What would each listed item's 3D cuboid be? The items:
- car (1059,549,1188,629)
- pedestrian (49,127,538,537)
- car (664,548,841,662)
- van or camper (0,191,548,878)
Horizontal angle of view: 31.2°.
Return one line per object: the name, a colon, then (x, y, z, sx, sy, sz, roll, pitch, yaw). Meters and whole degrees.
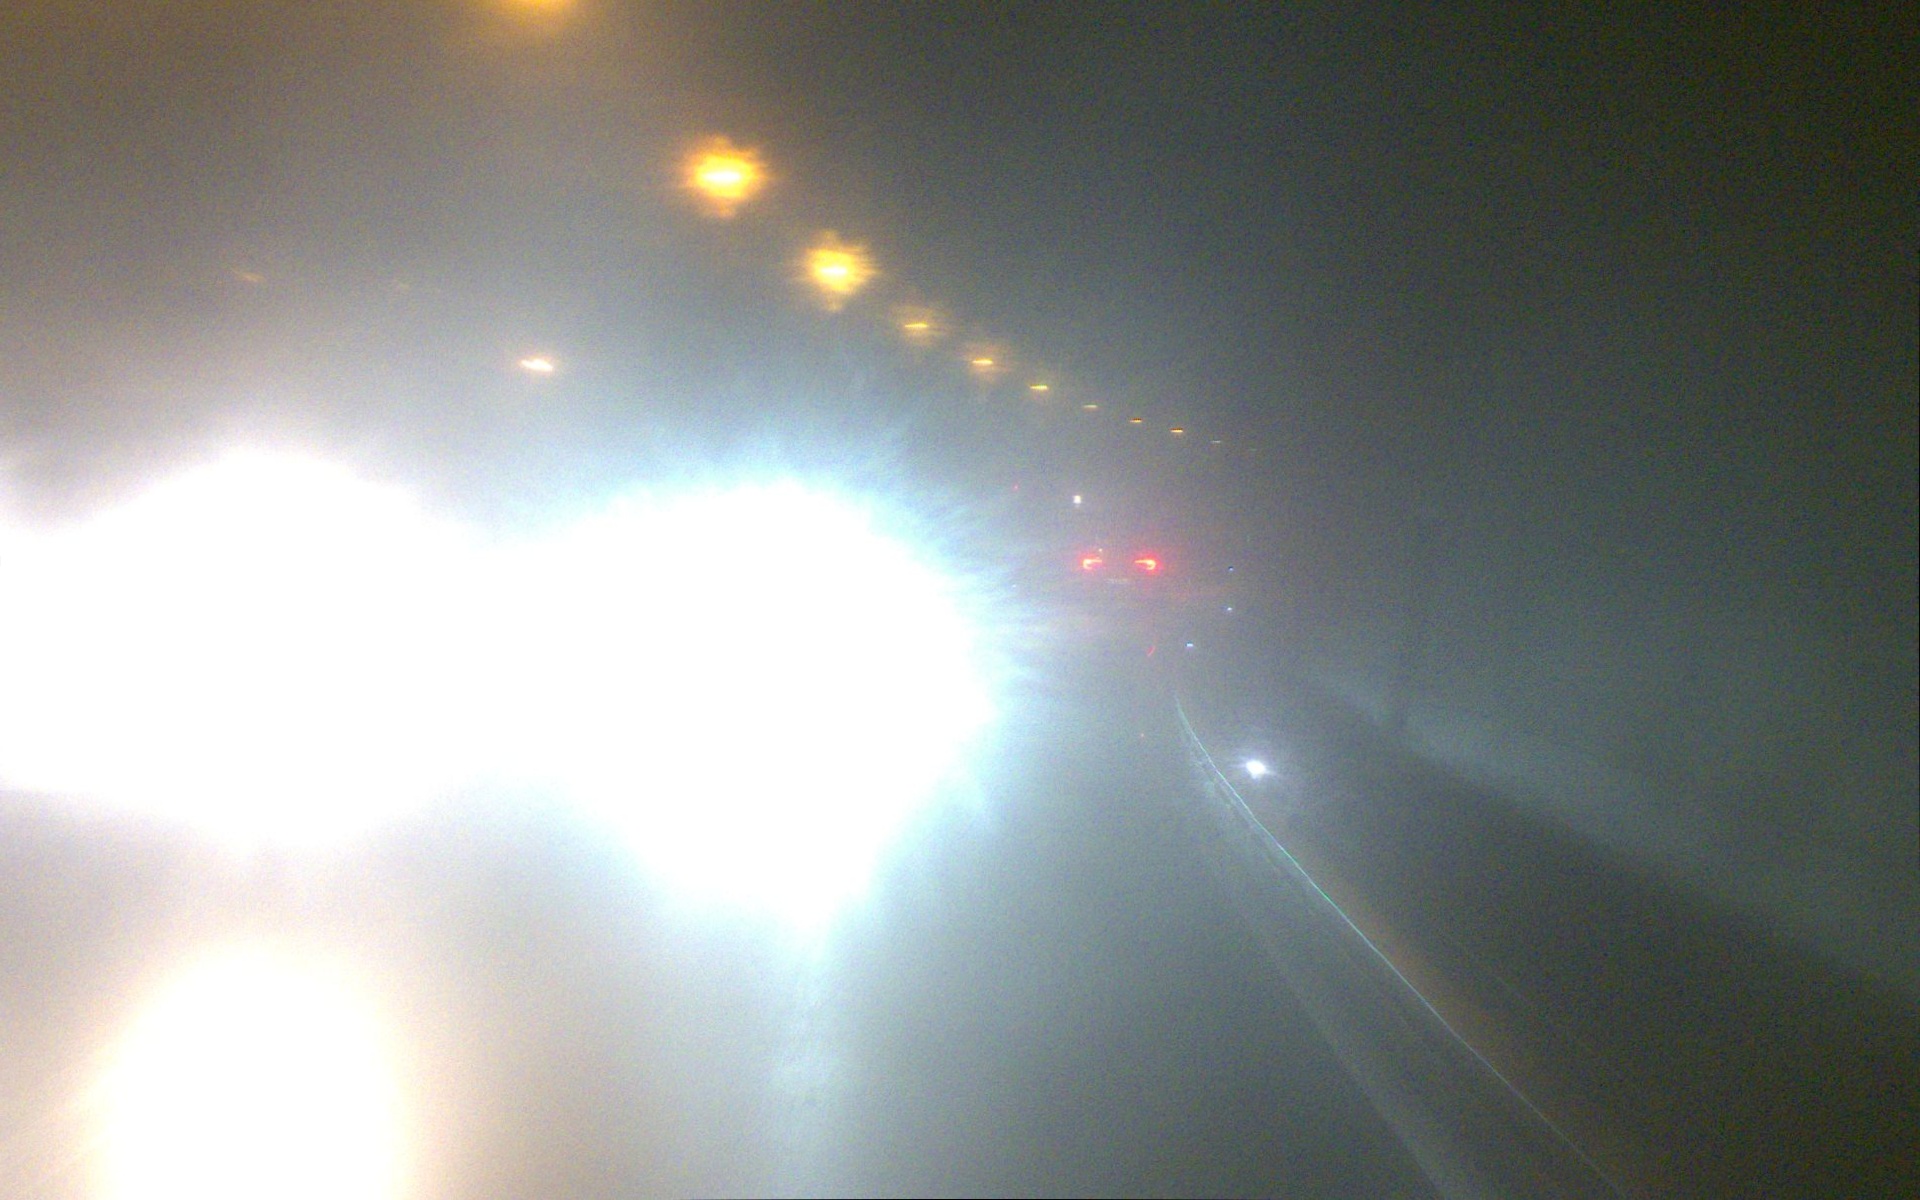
car: (3.615, -0.240, 75.425, 2.091, 1.656, 3.997, 2, 0, 13)
pedestrian: (-3.604, -1.386, 19.338, 1.993, 2.007, 4.000, 1, 1, -1)
car: (-2.675, 0.032, 45.271, 1.834, 1.379, 4.646, 1, 1, 2)
van or camper: (-3.830, -0.315, 17.816, 2.414, 2.873, 6.678, 1, 1, 1)
